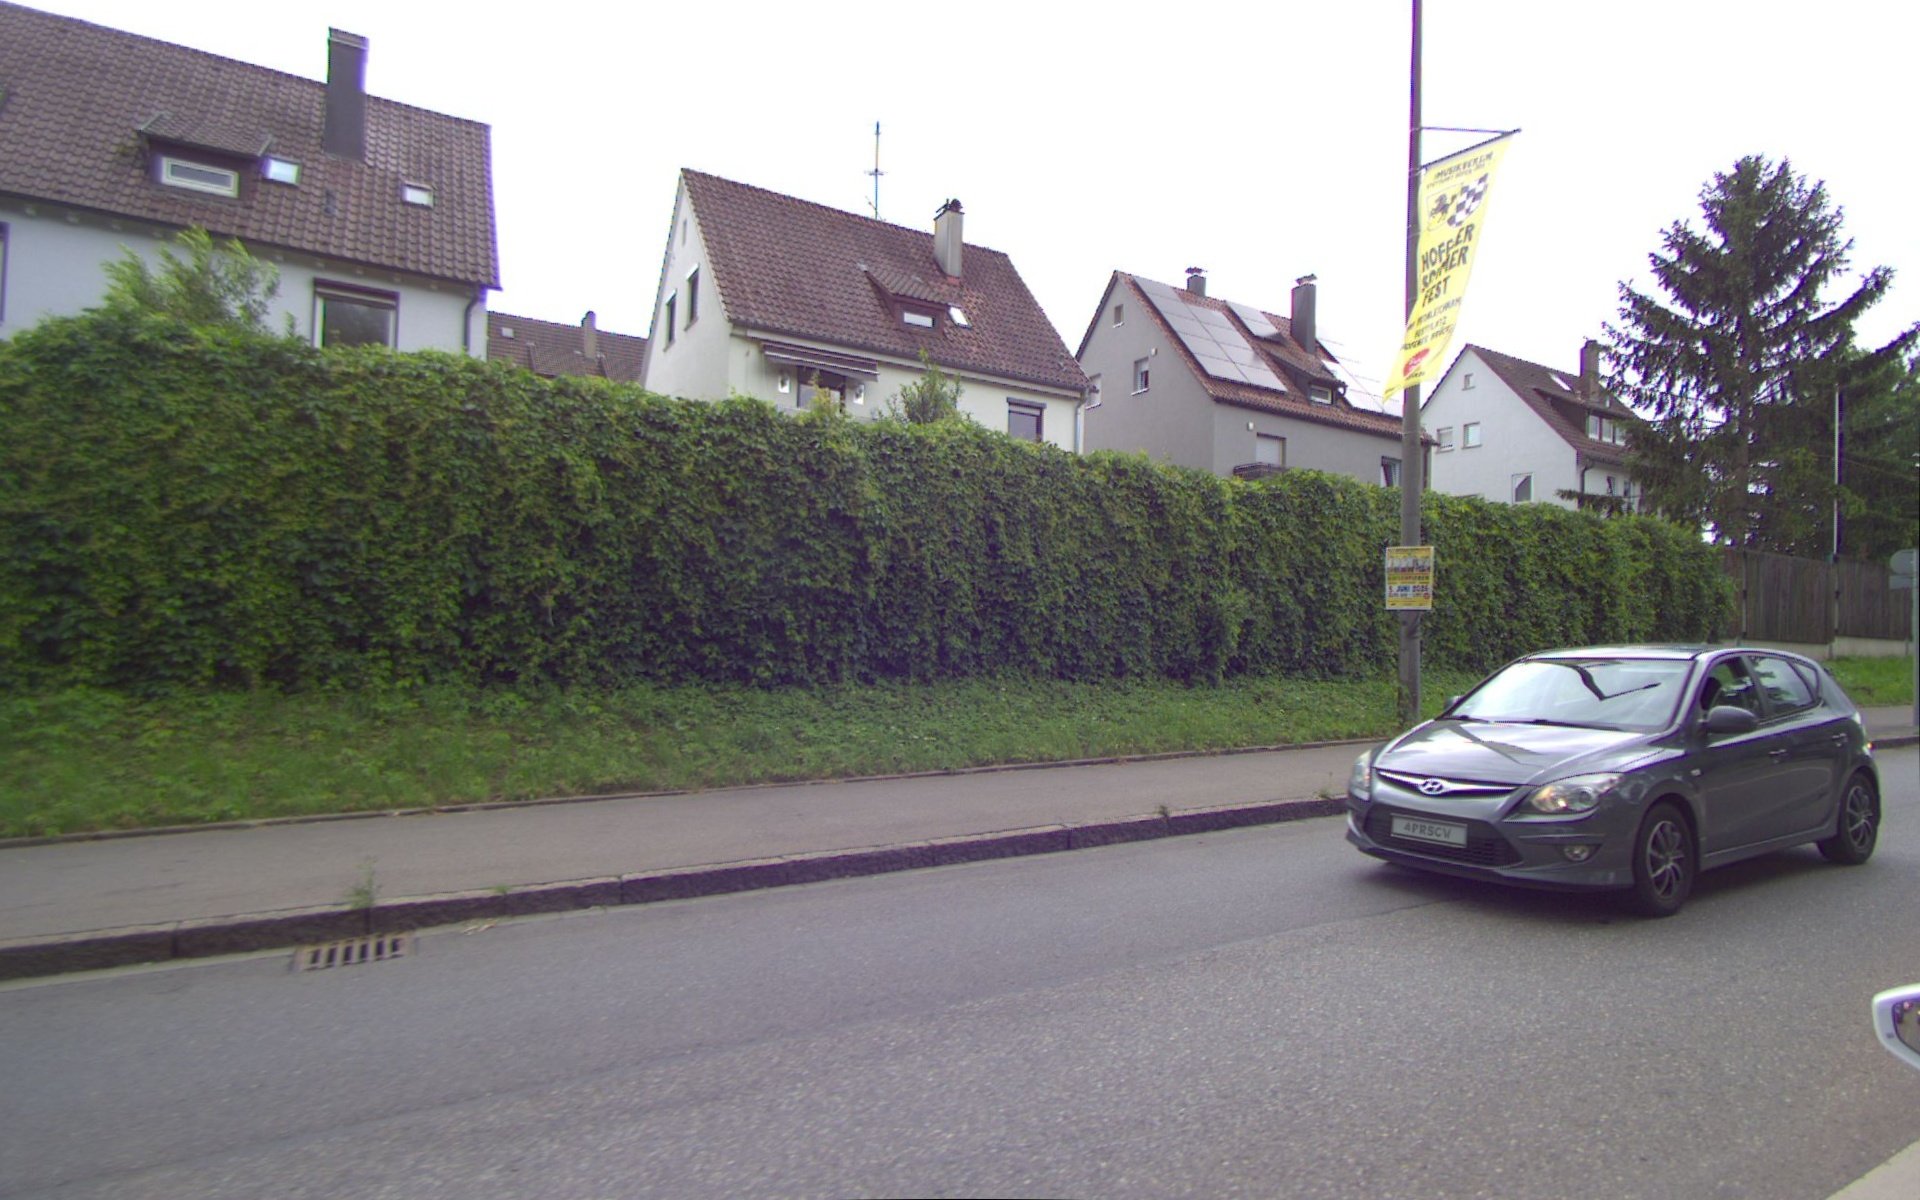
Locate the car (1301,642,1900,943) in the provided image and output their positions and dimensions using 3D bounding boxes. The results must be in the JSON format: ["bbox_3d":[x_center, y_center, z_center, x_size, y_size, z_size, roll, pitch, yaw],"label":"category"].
[{"bbox_3d":[4.412,1.035,6.799,4.104,1.483,1.720,1,-3,-30],"label":"car"}]
